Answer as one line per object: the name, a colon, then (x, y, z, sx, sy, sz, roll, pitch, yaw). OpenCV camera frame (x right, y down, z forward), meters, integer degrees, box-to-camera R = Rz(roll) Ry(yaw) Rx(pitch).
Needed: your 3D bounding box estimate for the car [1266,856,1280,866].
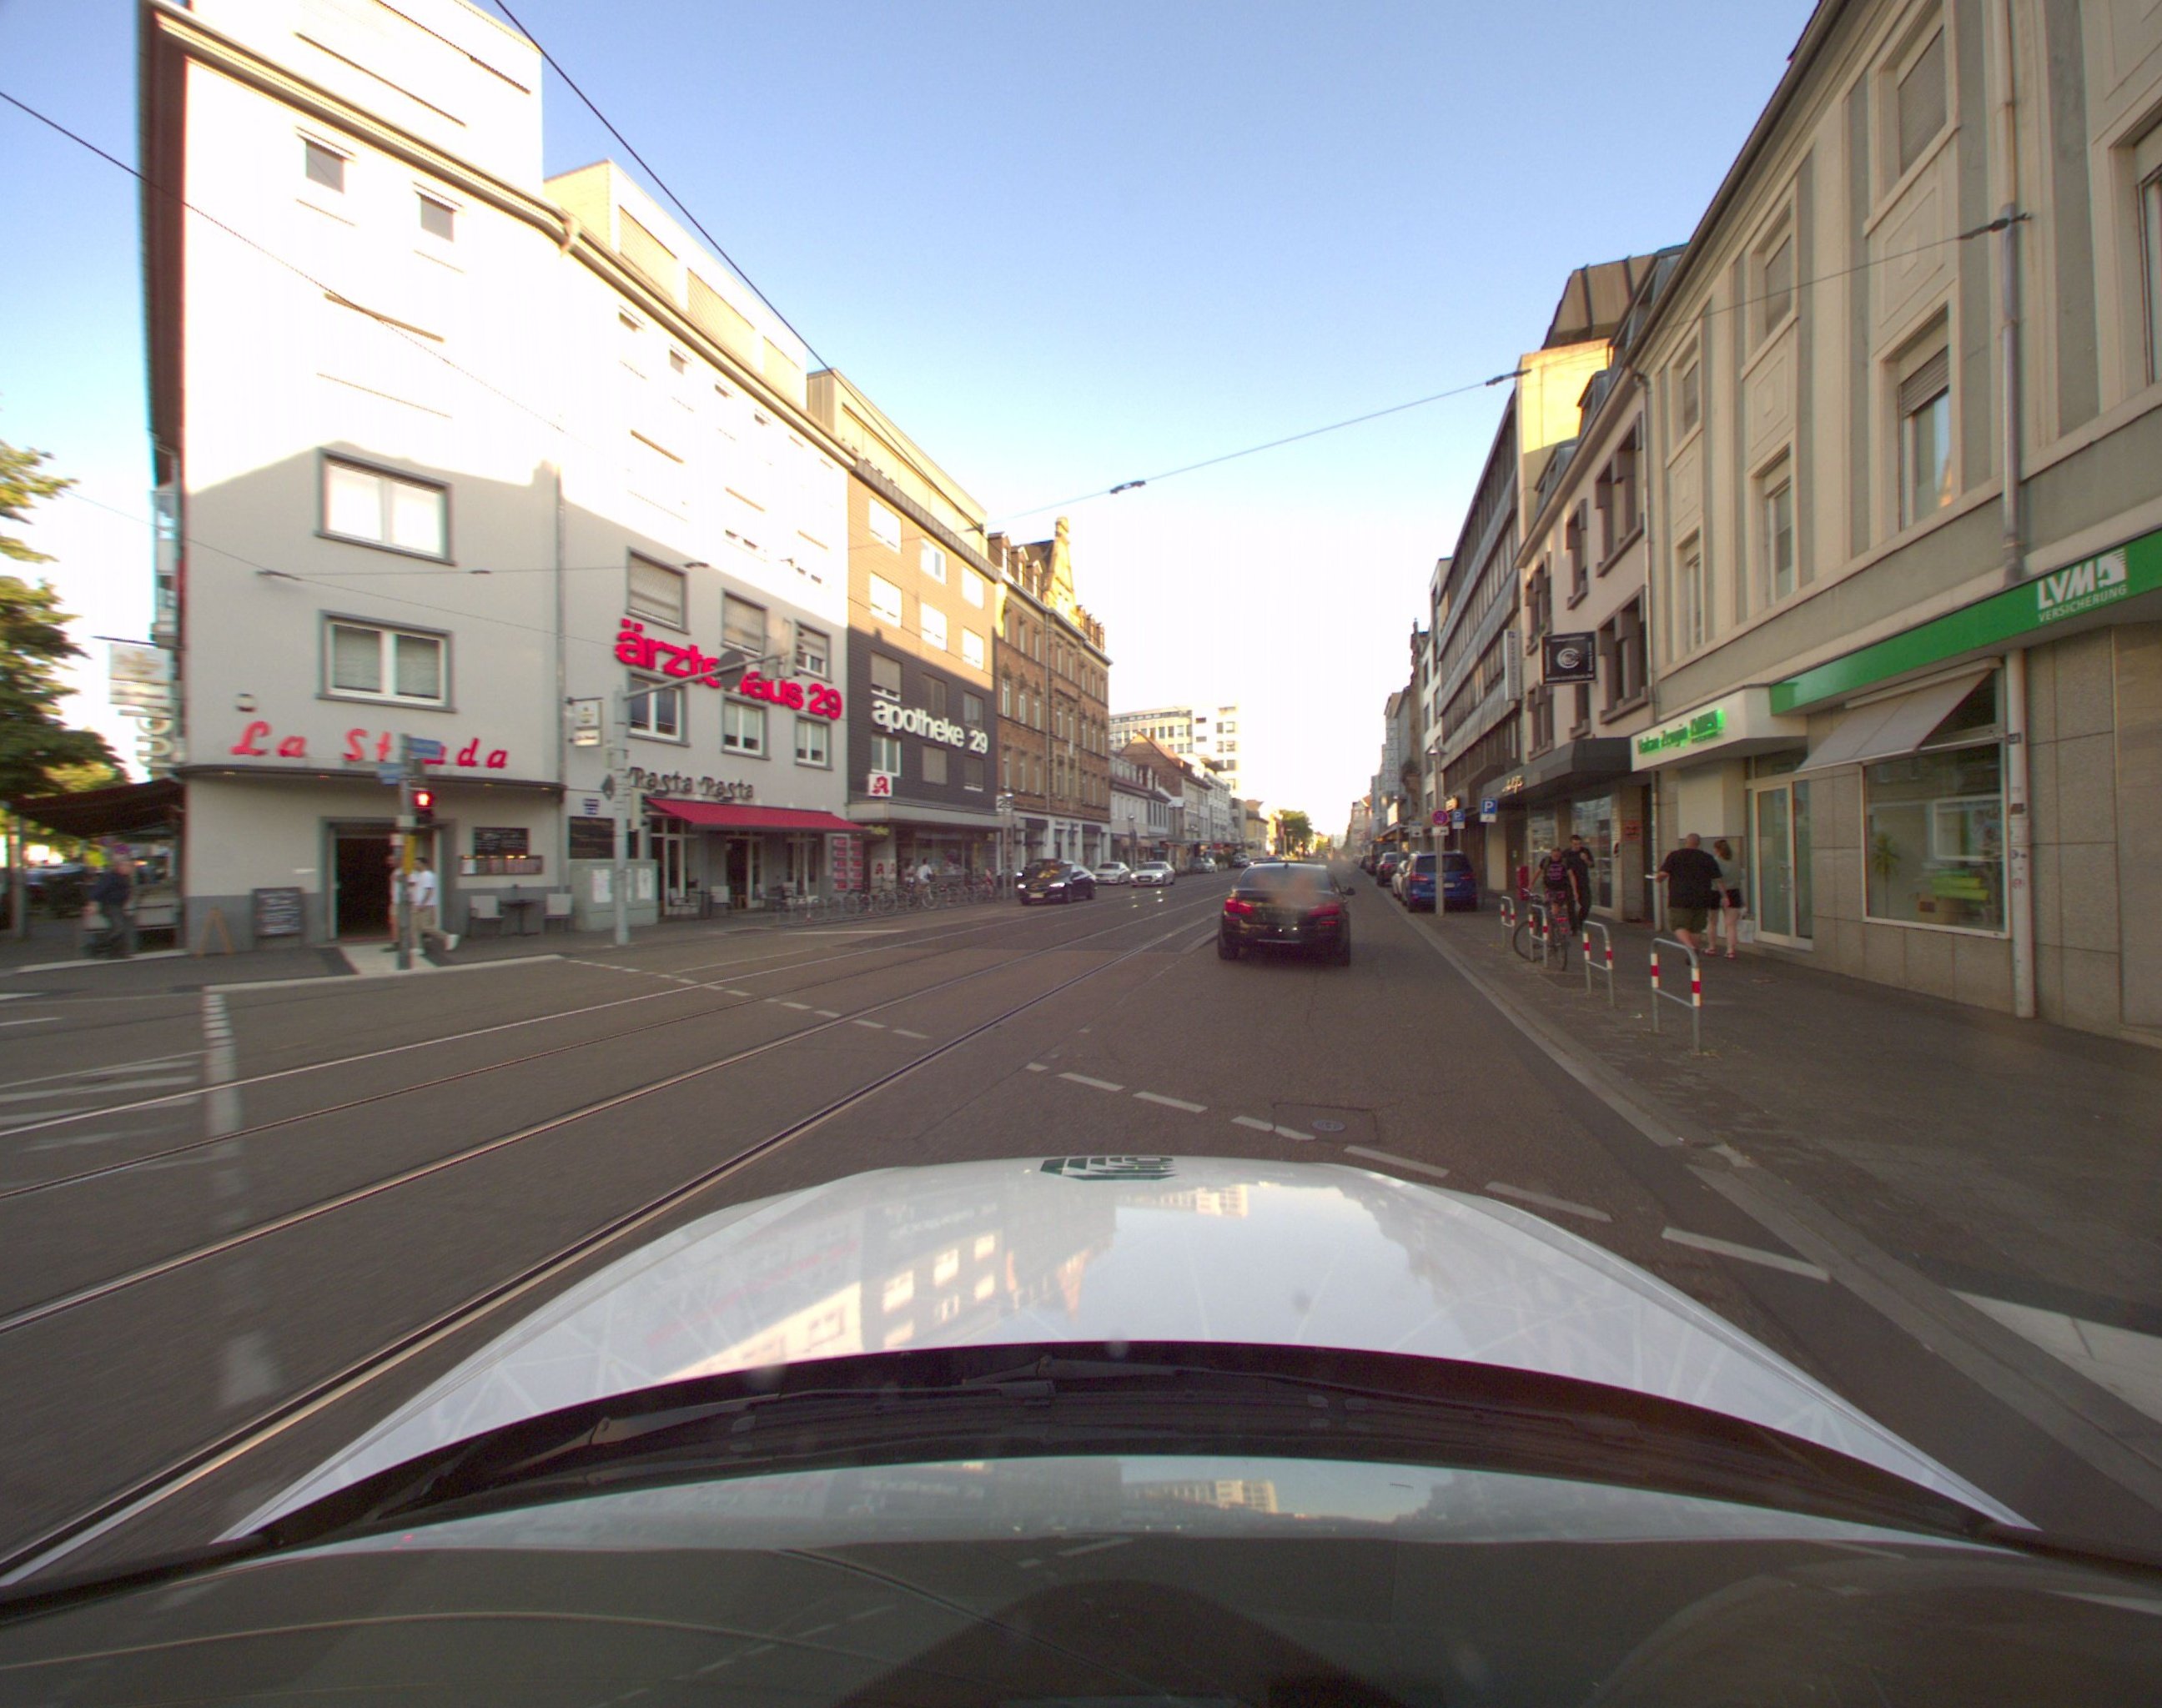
car: (28.282, 1.024, 119.832, 1.679, 1.453, 4.484, -1, 0, 16)

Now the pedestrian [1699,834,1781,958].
pedestrian: (9.459, 0.593, 11.715, 0.644, 1.718, 0.682, -3, -2, 19)

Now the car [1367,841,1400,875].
car: (23.572, 0.340, 63.612, 2.076, 2.455, 6.060, -2, -1, 18)

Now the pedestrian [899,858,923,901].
pedestrian: (-6.618, 0.978, 31.780, 0.677, 1.661, 0.627, 0, 0, 18)

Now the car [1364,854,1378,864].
car: (45.480, 0.856, 127.737, 1.887, 1.549, 4.018, 0, -1, 18)

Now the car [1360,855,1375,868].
car: (33.847, 0.856, 96.230, 1.547, 1.442, 3.726, -3, -1, 18)

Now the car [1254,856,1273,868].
car: (22.896, 1.021, 102.097, 1.978, 1.453, 4.668, -1, 0, 16)

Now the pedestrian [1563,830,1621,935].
pedestrian: (9.694, 0.529, 15.487, 0.656, 1.928, 0.883, -2, -1, 17)

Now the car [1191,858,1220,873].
car: (12.532, 1.105, 81.967, 1.977, 1.453, 4.845, -1, 0, 19)

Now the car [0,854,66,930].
car: (-28.392, 0.952, 21.457, 3.562, 1.874, 1.655, 0, -3, 44)

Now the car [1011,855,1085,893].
car: (-1.517, 0.901, 39.358, 1.914, 1.674, 4.670, 0, 0, 21)

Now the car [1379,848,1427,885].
car: (16.413, 0.638, 41.713, 1.977, 1.727, 4.587, -3, -1, 18)

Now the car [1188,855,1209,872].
car: (11.135, 0.917, 77.218, 1.465, 1.577, 2.807, -1, -1, 17)

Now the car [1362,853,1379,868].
car: (32.333, 0.715, 91.145, 1.641, 1.537, 3.903, -2, -1, 18)

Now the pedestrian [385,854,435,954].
pedestrian: (-12.293, 0.897, 14.931, 0.630, 1.779, 0.604, -1, -1, 40)

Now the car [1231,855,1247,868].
car: (20.814, 1.039, 106.956, 1.852, 1.685, 4.015, 0, 0, 14)

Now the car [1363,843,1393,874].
car: (25.513, 0.383, 70.183, 2.017, 2.455, 5.433, -3, -1, 17)

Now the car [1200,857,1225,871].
car: (14.073, 1.075, 86.874, 1.978, 1.453, 4.349, -1, 0, 18)

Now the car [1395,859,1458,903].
car: (12.650, 0.943, 30.009, 1.781, 1.433, 3.905, -3, -1, 18)

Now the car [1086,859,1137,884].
car: (1.967, 1.033, 50.532, 1.853, 1.453, 4.633, -1, 0, 19)

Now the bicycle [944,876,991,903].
bicycle: (-4.408, 1.371, 31.624, 1.790, 0.912, 0.458, 2, 2, 18)

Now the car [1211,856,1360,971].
car: (3.384, 0.816, 13.059, 1.938, 1.498, 4.484, 0, -1, 17)

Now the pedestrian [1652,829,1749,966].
pedestrian: (8.571, 0.586, 11.309, 0.760, 1.806, 0.932, -2, -1, 20)

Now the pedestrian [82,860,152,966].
pedestrian: (-15.798, 0.941, 13.366, 0.705, 1.676, 0.707, -1, -1, 42)

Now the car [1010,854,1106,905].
car: (-0.749, 0.925, 30.836, 1.977, 1.727, 4.750, -3, -1, 19)

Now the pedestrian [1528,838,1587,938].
pedestrian: (9.015, 0.629, 15.434, 0.731, 1.829, 0.854, -2, -1, 17)

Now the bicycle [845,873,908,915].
bicycle: (-6.403, 1.244, 25.487, 1.876, 1.211, 0.556, 1, 0, 18)

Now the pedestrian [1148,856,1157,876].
pedestrian: (6.153, 1.016, 69.844, 0.657, 1.644, 0.697, 0, -1, 19)

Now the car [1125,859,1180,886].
car: (4.137, 1.011, 46.177, 1.977, 1.453, 4.679, -1, 0, 19)

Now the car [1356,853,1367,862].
car: (51.142, 0.656, 148.536, 1.760, 1.549, 3.519, 0, -1, 18)

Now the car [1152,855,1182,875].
car: (6.914, 0.862, 65.017, 1.585, 1.440, 3.831, 0, 1, 19)

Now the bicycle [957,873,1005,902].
bicycle: (-3.986, 1.312, 32.378, 1.816, 1.047, 0.491, 2, 2, 18)

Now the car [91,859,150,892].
car: (-54.968, 1.212, 46.681, 3.950, 1.794, 1.868, 0, -1, 44)

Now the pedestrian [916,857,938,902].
pedestrian: (-5.967, 0.986, 31.597, 0.615, 1.699, 0.605, 0, 0, 18)

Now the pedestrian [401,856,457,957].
pedestrian: (-11.647, 0.913, 14.555, 0.630, 1.744, 0.673, -1, -1, 40)

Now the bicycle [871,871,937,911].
bicycle: (-5.840, 1.215, 26.875, 2.095, 1.224, 0.556, 1, 0, 18)

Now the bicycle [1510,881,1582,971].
bicycle: (6.528, 0.979, 11.499, 0.529, 1.147, 1.497, -1, -1, 16)

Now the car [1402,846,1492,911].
car: (10.808, 0.685, 24.379, 1.977, 1.727, 4.598, -1, -1, 18)

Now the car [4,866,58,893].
car: (-74.448, 1.781, 57.783, 3.950, 1.794, 1.868, -1, -2, 44)

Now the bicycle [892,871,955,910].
bicycle: (-5.445, 1.244, 28.144, 2.095, 1.224, 0.556, 2, 2, 18)

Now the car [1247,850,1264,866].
car: (24.558, 0.512, 114.475, 1.979, 2.156, 4.930, -1, 0, 15)
